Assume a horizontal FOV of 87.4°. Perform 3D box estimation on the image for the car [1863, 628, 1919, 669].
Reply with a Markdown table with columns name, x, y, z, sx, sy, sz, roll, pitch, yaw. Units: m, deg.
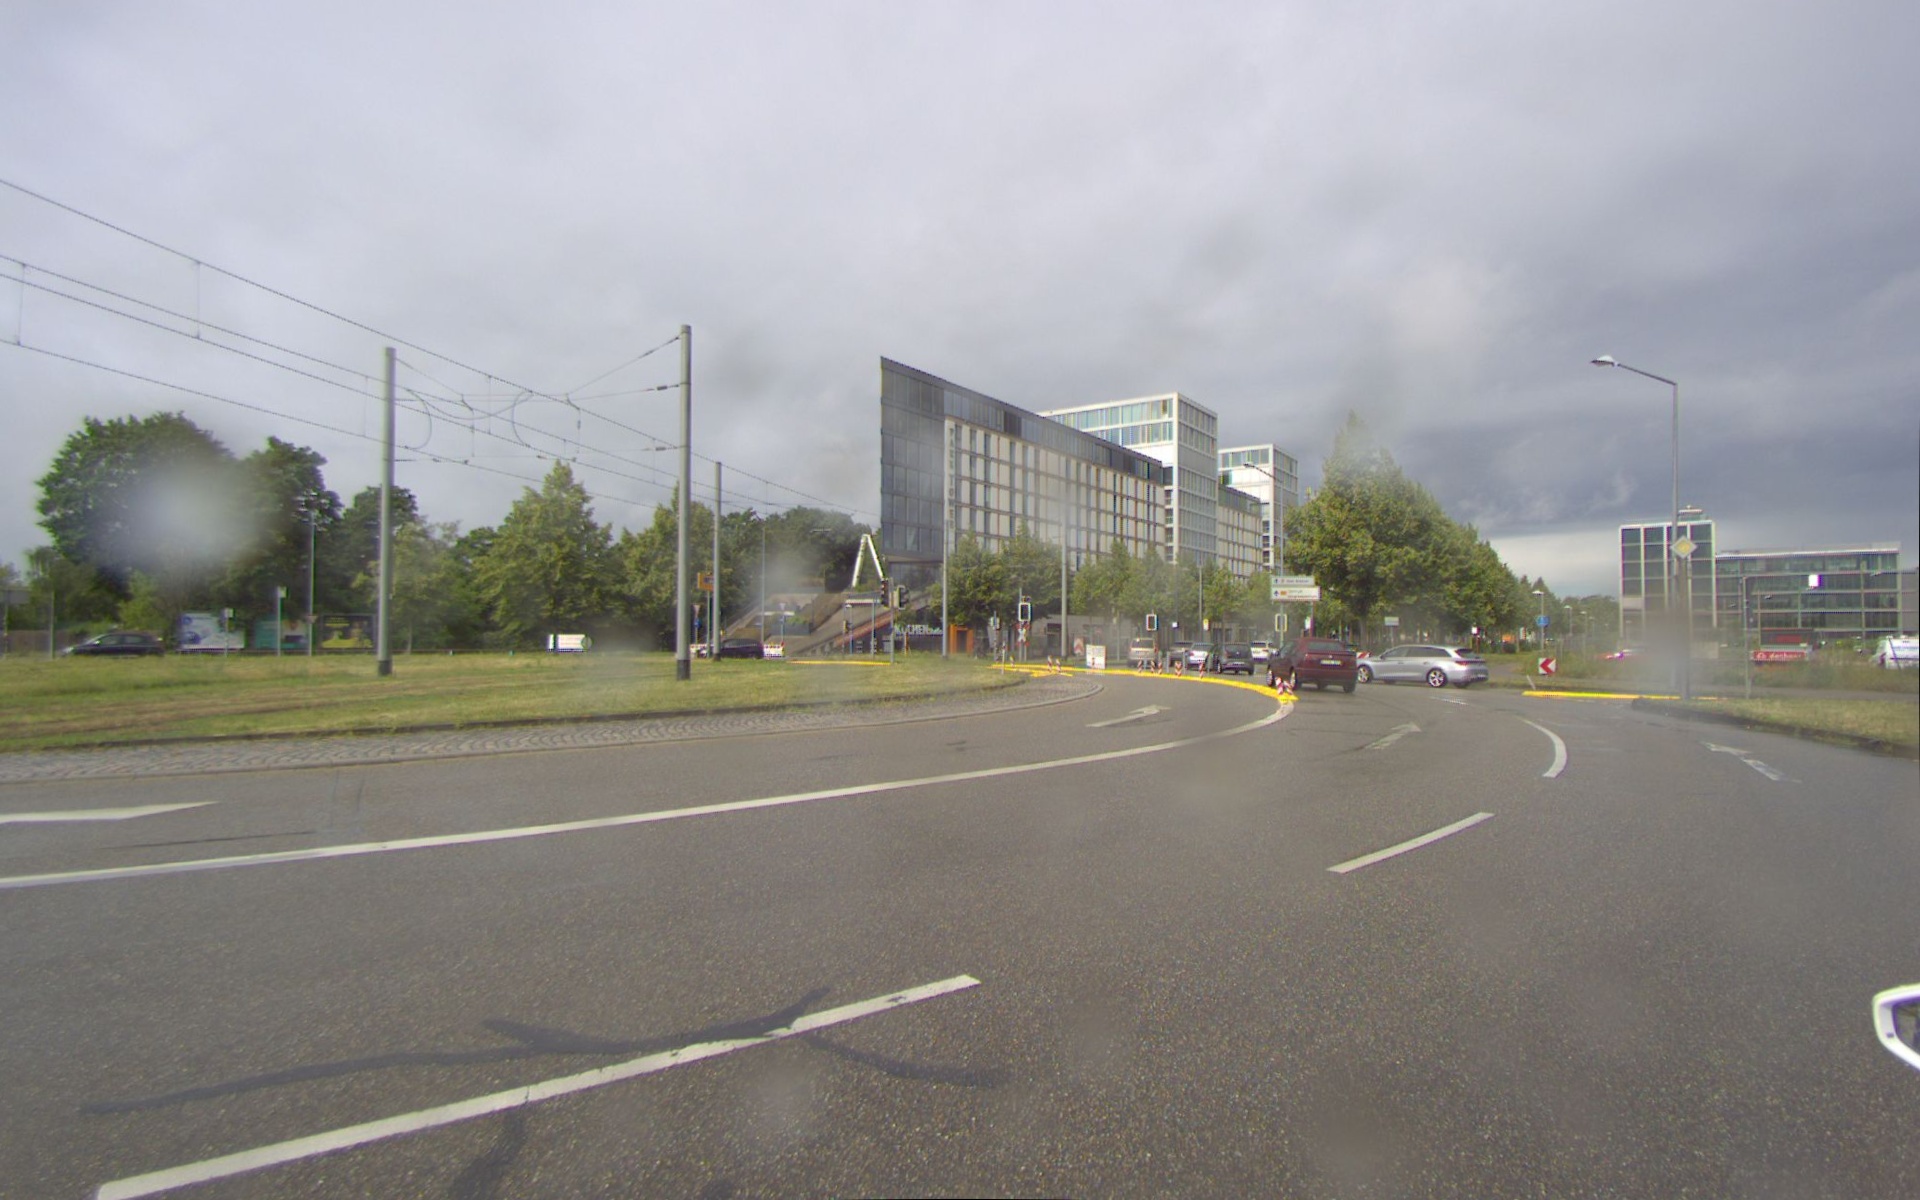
| name | x | y | z | sx | sy | sz | roll | pitch | yaw |
| --- | --- | --- | --- | --- | --- | --- | --- | --- | --- |
| car | 44.150 | 2.261 | 47.333 | 1.827 | 1.723 | 3.987 | -1 | 0 | 34 |

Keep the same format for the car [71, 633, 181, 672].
| name | x | y | z | sx | sy | sz | roll | pitch | yaw |
| --- | --- | --- | --- | --- | --- | --- | --- | --- | --- |
| car | -38.363 | 2.408 | 46.228 | 3.794 | 1.694 | 1.843 | 2 | -2 | -43 |

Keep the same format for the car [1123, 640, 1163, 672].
| name | x | y | z | sx | sy | sz | roll | pitch | yaw |
| --- | --- | --- | --- | --- | --- | --- | --- | --- | --- |
| car | 9.836 | 2.975 | 53.906 | 1.520 | 1.581 | 3.500 | -1 | -2 | 21 |

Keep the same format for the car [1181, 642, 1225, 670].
| name | x | y | z | sx | sy | sz | roll | pitch | yaw |
| --- | --- | --- | --- | --- | --- | --- | --- | --- | --- |
| car | 12.928 | 2.943 | 53.276 | 1.670 | 1.385 | 3.845 | -1 | -2 | 23 |

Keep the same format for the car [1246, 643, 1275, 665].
| name | x | y | z | sx | sy | sz | roll | pitch | yaw |
| --- | --- | --- | --- | --- | --- | --- | --- | --- | --- |
| car | 22.360 | 3.995 | 74.662 | 1.472 | 1.530 | 3.496 | 0 | -2 | 27 |

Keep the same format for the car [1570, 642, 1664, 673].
| name | x | y | z | sx | sy | sz | roll | pitch | yaw |
| --- | --- | --- | --- | --- | --- | --- | --- | --- | --- |
| car | 35.037 | 3.051 | 53.674 | 4.121 | 1.531 | 1.852 | -1 | 0 | 33 |

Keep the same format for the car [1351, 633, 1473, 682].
| name | x | y | z | sx | sy | sz | roll | pitch | yaw |
| --- | --- | --- | --- | --- | --- | --- | --- | --- | --- |
| car | 15.486 | 1.934 | 34.522 | 1.585 | 1.581 | 3.513 | 1 | -2 | -37 |

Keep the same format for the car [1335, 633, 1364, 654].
| name | x | y | z | sx | sy | sz | roll | pitch | yaw |
| --- | --- | --- | --- | --- | --- | --- | --- | --- | --- |
| car | 38.494 | 4.294 | 99.180 | 1.966 | 2.040 | 3.990 | -1 | -2 | 33 |

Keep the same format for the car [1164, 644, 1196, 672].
| name | x | y | z | sx | sy | sz | roll | pitch | yaw |
| --- | --- | --- | --- | --- | --- | --- | --- | --- | --- |
| car | 13.366 | 3.502 | 60.951 | 1.543 | 1.581 | 3.679 | -1 | -2 | 18 |

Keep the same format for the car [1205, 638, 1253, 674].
| name | x | y | z | sx | sy | sz | roll | pitch | yaw |
| --- | --- | --- | --- | --- | --- | --- | --- | --- | --- |
| car | 12.503 | 2.573 | 46.851 | 1.519 | 1.581 | 3.502 | 0 | -2 | 3 |

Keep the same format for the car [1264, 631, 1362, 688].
| name | x | y | z | sx | sy | sz | roll | pitch | yaw |
| --- | --- | --- | --- | --- | --- | --- | --- | --- | --- |
| car | 9.786 | 1.649 | 28.168 | 1.685 | 1.481 | 4.003 | -1 | -3 | 6 |

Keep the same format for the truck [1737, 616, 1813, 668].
| name | x | y | z | sx | sy | sz | roll | pitch | yaw |
| --- | --- | --- | --- | --- | --- | --- | --- | --- | --- |
| truck | 39.129 | 1.930 | 48.165 | 2.364 | 2.241 | 6.064 | -1 | 0 | 43 |

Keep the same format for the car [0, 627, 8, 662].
| name | x | y | z | sx | sy | sz | roll | pitch | yaw |
| --- | --- | --- | --- | --- | --- | --- | --- | --- | --- |
| car | -52.476 | 2.341 | 53.747 | 3.942 | 1.839 | 1.867 | -1 | -2 | 42 |

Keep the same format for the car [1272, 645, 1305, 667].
| name | x | y | z | sx | sy | sz | roll | pitch | yaw |
| --- | --- | --- | --- | --- | --- | --- | --- | --- | --- |
| car | 23.419 | 3.975 | 71.550 | 1.473 | 1.530 | 3.493 | 1 | -2 | 31 |
